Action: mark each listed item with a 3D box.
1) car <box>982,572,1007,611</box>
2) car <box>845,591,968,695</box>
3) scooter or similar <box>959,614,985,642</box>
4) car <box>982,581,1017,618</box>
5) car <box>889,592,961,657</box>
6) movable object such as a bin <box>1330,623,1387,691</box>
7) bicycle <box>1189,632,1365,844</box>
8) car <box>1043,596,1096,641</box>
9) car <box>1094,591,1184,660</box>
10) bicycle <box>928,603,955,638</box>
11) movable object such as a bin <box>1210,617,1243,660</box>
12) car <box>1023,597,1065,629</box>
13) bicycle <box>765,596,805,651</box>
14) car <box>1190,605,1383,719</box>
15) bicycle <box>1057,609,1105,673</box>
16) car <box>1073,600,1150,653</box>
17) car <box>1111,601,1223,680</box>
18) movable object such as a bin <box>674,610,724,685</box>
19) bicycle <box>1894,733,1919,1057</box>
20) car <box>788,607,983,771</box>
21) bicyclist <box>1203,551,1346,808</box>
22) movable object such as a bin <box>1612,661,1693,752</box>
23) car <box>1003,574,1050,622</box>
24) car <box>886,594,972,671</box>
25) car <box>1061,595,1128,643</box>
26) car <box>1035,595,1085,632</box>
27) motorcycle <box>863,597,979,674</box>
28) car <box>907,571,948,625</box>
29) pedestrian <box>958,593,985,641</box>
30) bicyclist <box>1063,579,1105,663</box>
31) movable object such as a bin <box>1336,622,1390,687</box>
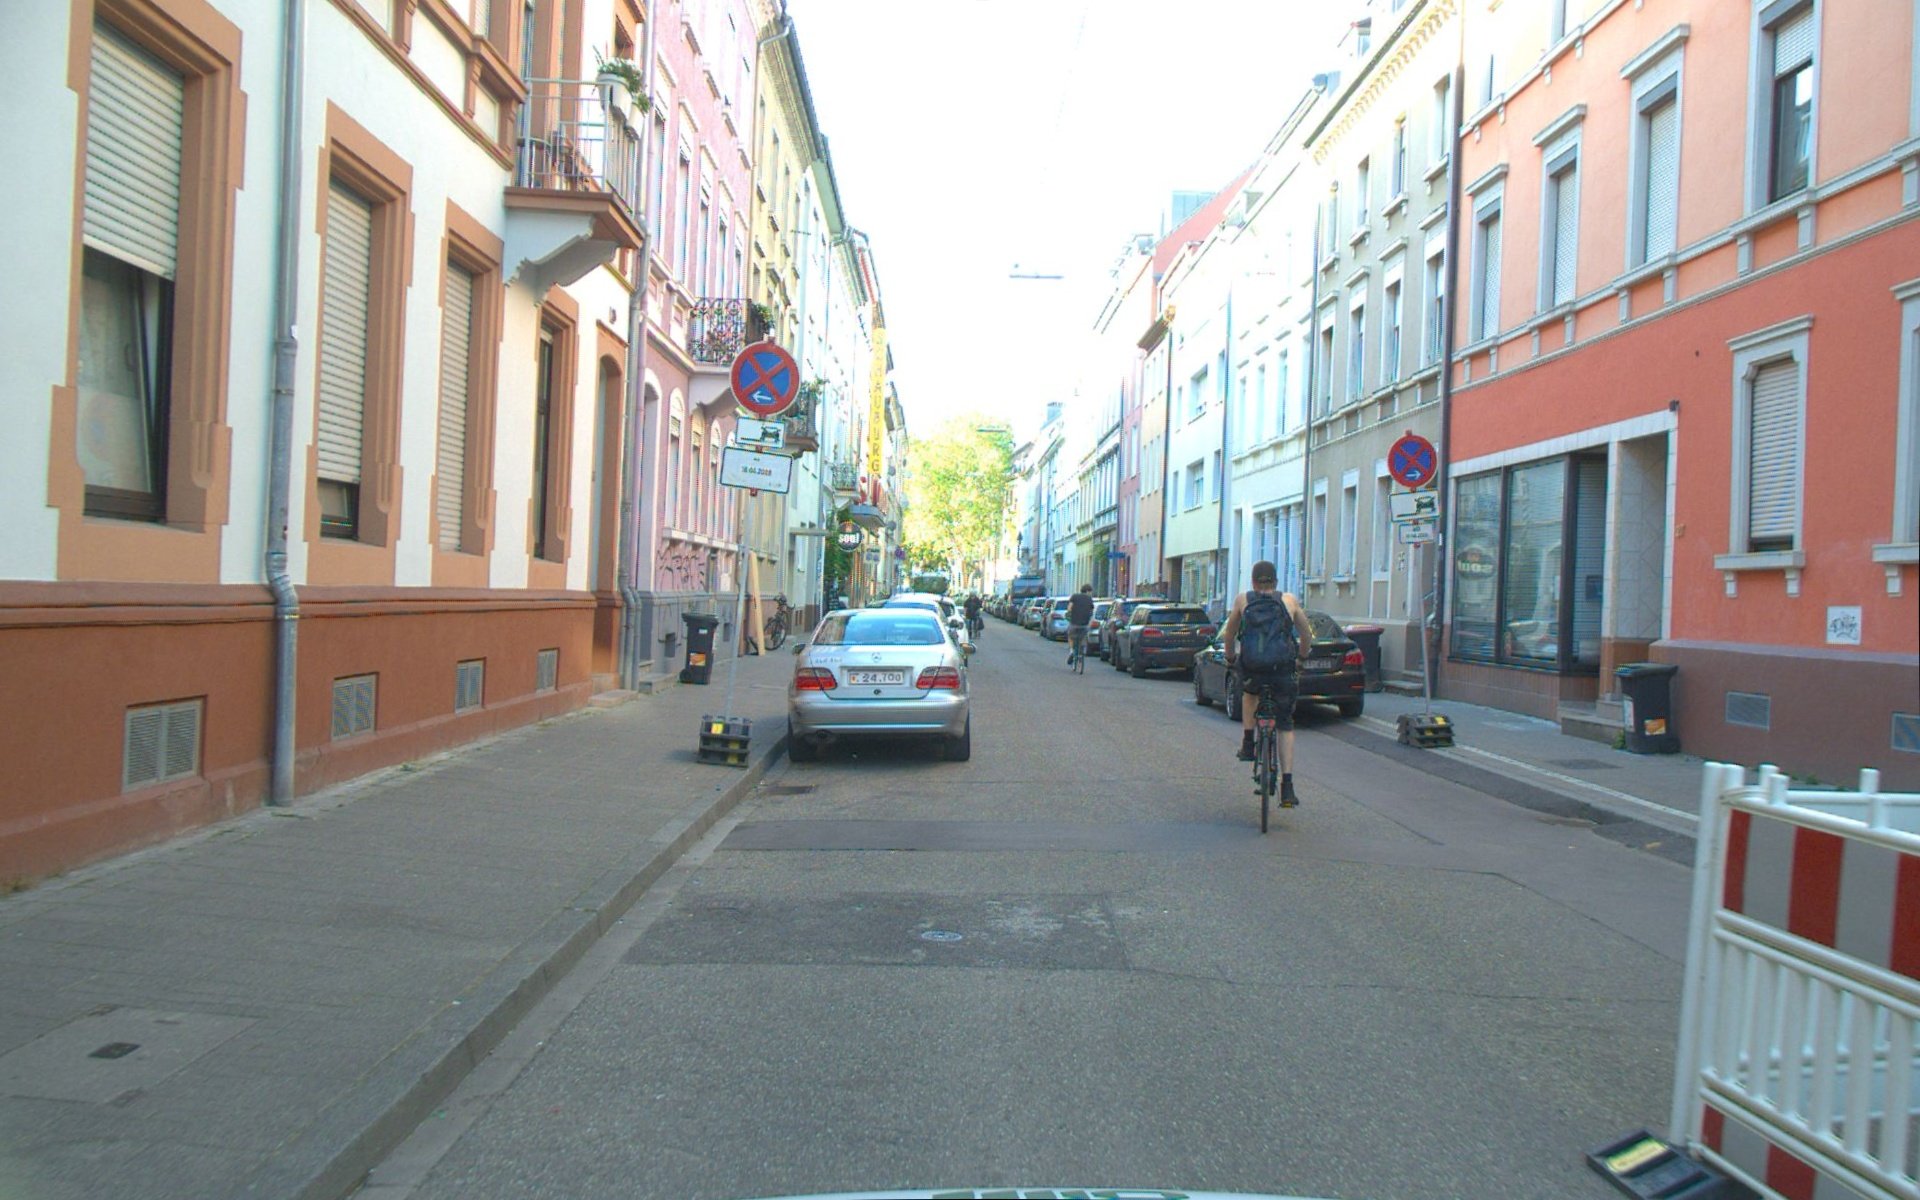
[{"bbox_3d":[3.421,-0.849,165.516,2.261,3.834,6.768,0,0,-1],"label":"car"},{"bbox_3d":[-0.784,0.628,26.685,1.675,1.407,4.357,2,1,1],"label":"car"},{"bbox_3d":[0.410,0.931,55.977,0.756,0.888,0.770,3,0,-5],"label":"scooter or similar"},{"bbox_3d":[2.768,-0.020,118.119,2.261,2.582,6.768,0,0,-1],"label":"car"},{"bbox_3d":[-0.820,0.561,39.646,1.638,1.467,3.767,0,0,-1],"label":"car"},{"bbox_3d":[6.643,0.945,27.589,0.722,1.094,0.676,0,0,-7],"label":"movable object such as a bin"},{"bbox_3d":[2.147,0.887,11.530,0.688,1.229,2.342,3,0,-1],"label":"bicycle"},{"bbox_3d":[3.962,0.648,60.209,1.587,1.577,3.999,0,0,-1],"label":"car"},{"bbox_3d":[4.289,0.601,40.097,1.676,1.583,3.999,0,0,-1],"label":"car"},{"bbox_3d":[-0.630,0.691,55.972,0.686,1.124,2.272,3,0,-4],"label":"bicycle"},{"bbox_3d":[6.921,0.983,42.959,0.790,1.094,0.678,-1,0,4],"label":"movable object such as a bin"},{"bbox_3d":[3.900,0.595,77.175,1.676,1.473,3.999,0,0,-1],"label":"car"},{"bbox_3d":[-3.706,0.483,35.157,0.580,1.107,2.078,3,0,0],"label":"bicycle"},{"bbox_3d":[4.565,0.814,23.840,1.780,1.463,4.789,0,0,-1],"label":"car"},{"bbox_3d":[2.452,0.813,33.681,0.688,1.229,2.341,4,-1,-1],"label":"bicycle"},{"bbox_3d":[4.129,0.701,45.544,1.676,1.407,3.999,0,0,-1],"label":"car"},{"bbox_3d":[4.262,0.806,34.526,1.780,1.548,3.999,0,0,-1],"label":"car"},{"bbox_3d":[-3.493,0.633,22.163,0.532,0.961,0.487,3,0,0],"label":"movable object such as a bin"},{"bbox_3d":[4.328,1.102,5.765,1.815,1.129,0.642,4,-1,-8],"label":"bicycle"},{"bbox_3d":[-0.674,0.775,16.484,1.676,1.407,4.504,0,0,-1],"label":"car"},{"bbox_3d":[2.161,0.525,11.489,0.688,1.661,1.090,3,0,-1],"label":"bicyclist"},{"bbox_3d":[7.290,1.112,17.421,0.585,0.922,0.579,-1,-1,-2],"label":"movable object such as a bin"},{"bbox_3d":[3.694,-0.111,92.687,2.261,2.582,6.768,0,0,-1],"label":"car"},{"bbox_3d":[-0.627,0.634,33.865,1.638,1.467,4.164,0,0,-1],"label":"car"},{"bbox_3d":[4.069,0.554,50.597,1.676,1.407,3.999,0,0,-1],"label":"car"},{"bbox_3d":[3.913,0.507,65.424,1.676,1.418,3.999,0,0,-1],"label":"car"},{"bbox_3d":[-0.723,0.661,31.051,2.114,1.383,0.537,-1,1,-19],"label":"motorcycle"},{"bbox_3d":[-1.625,-0.092,81.261,1.871,2.540,4.163,1,0,-3],"label":"car"},{"bbox_3d":[0.386,0.576,56.361,0.756,1.606,0.899,3,0,-5],"label":"pedestrian"},{"bbox_3d":[2.513,0.425,33.526,0.688,1.633,0.812,4,-1,-1],"label":"bicyclist"},{"bbox_3d":[6.982,0.934,28.668,0.790,1.094,0.678,-1,0,4],"label":"movable object such as a bin"}]
